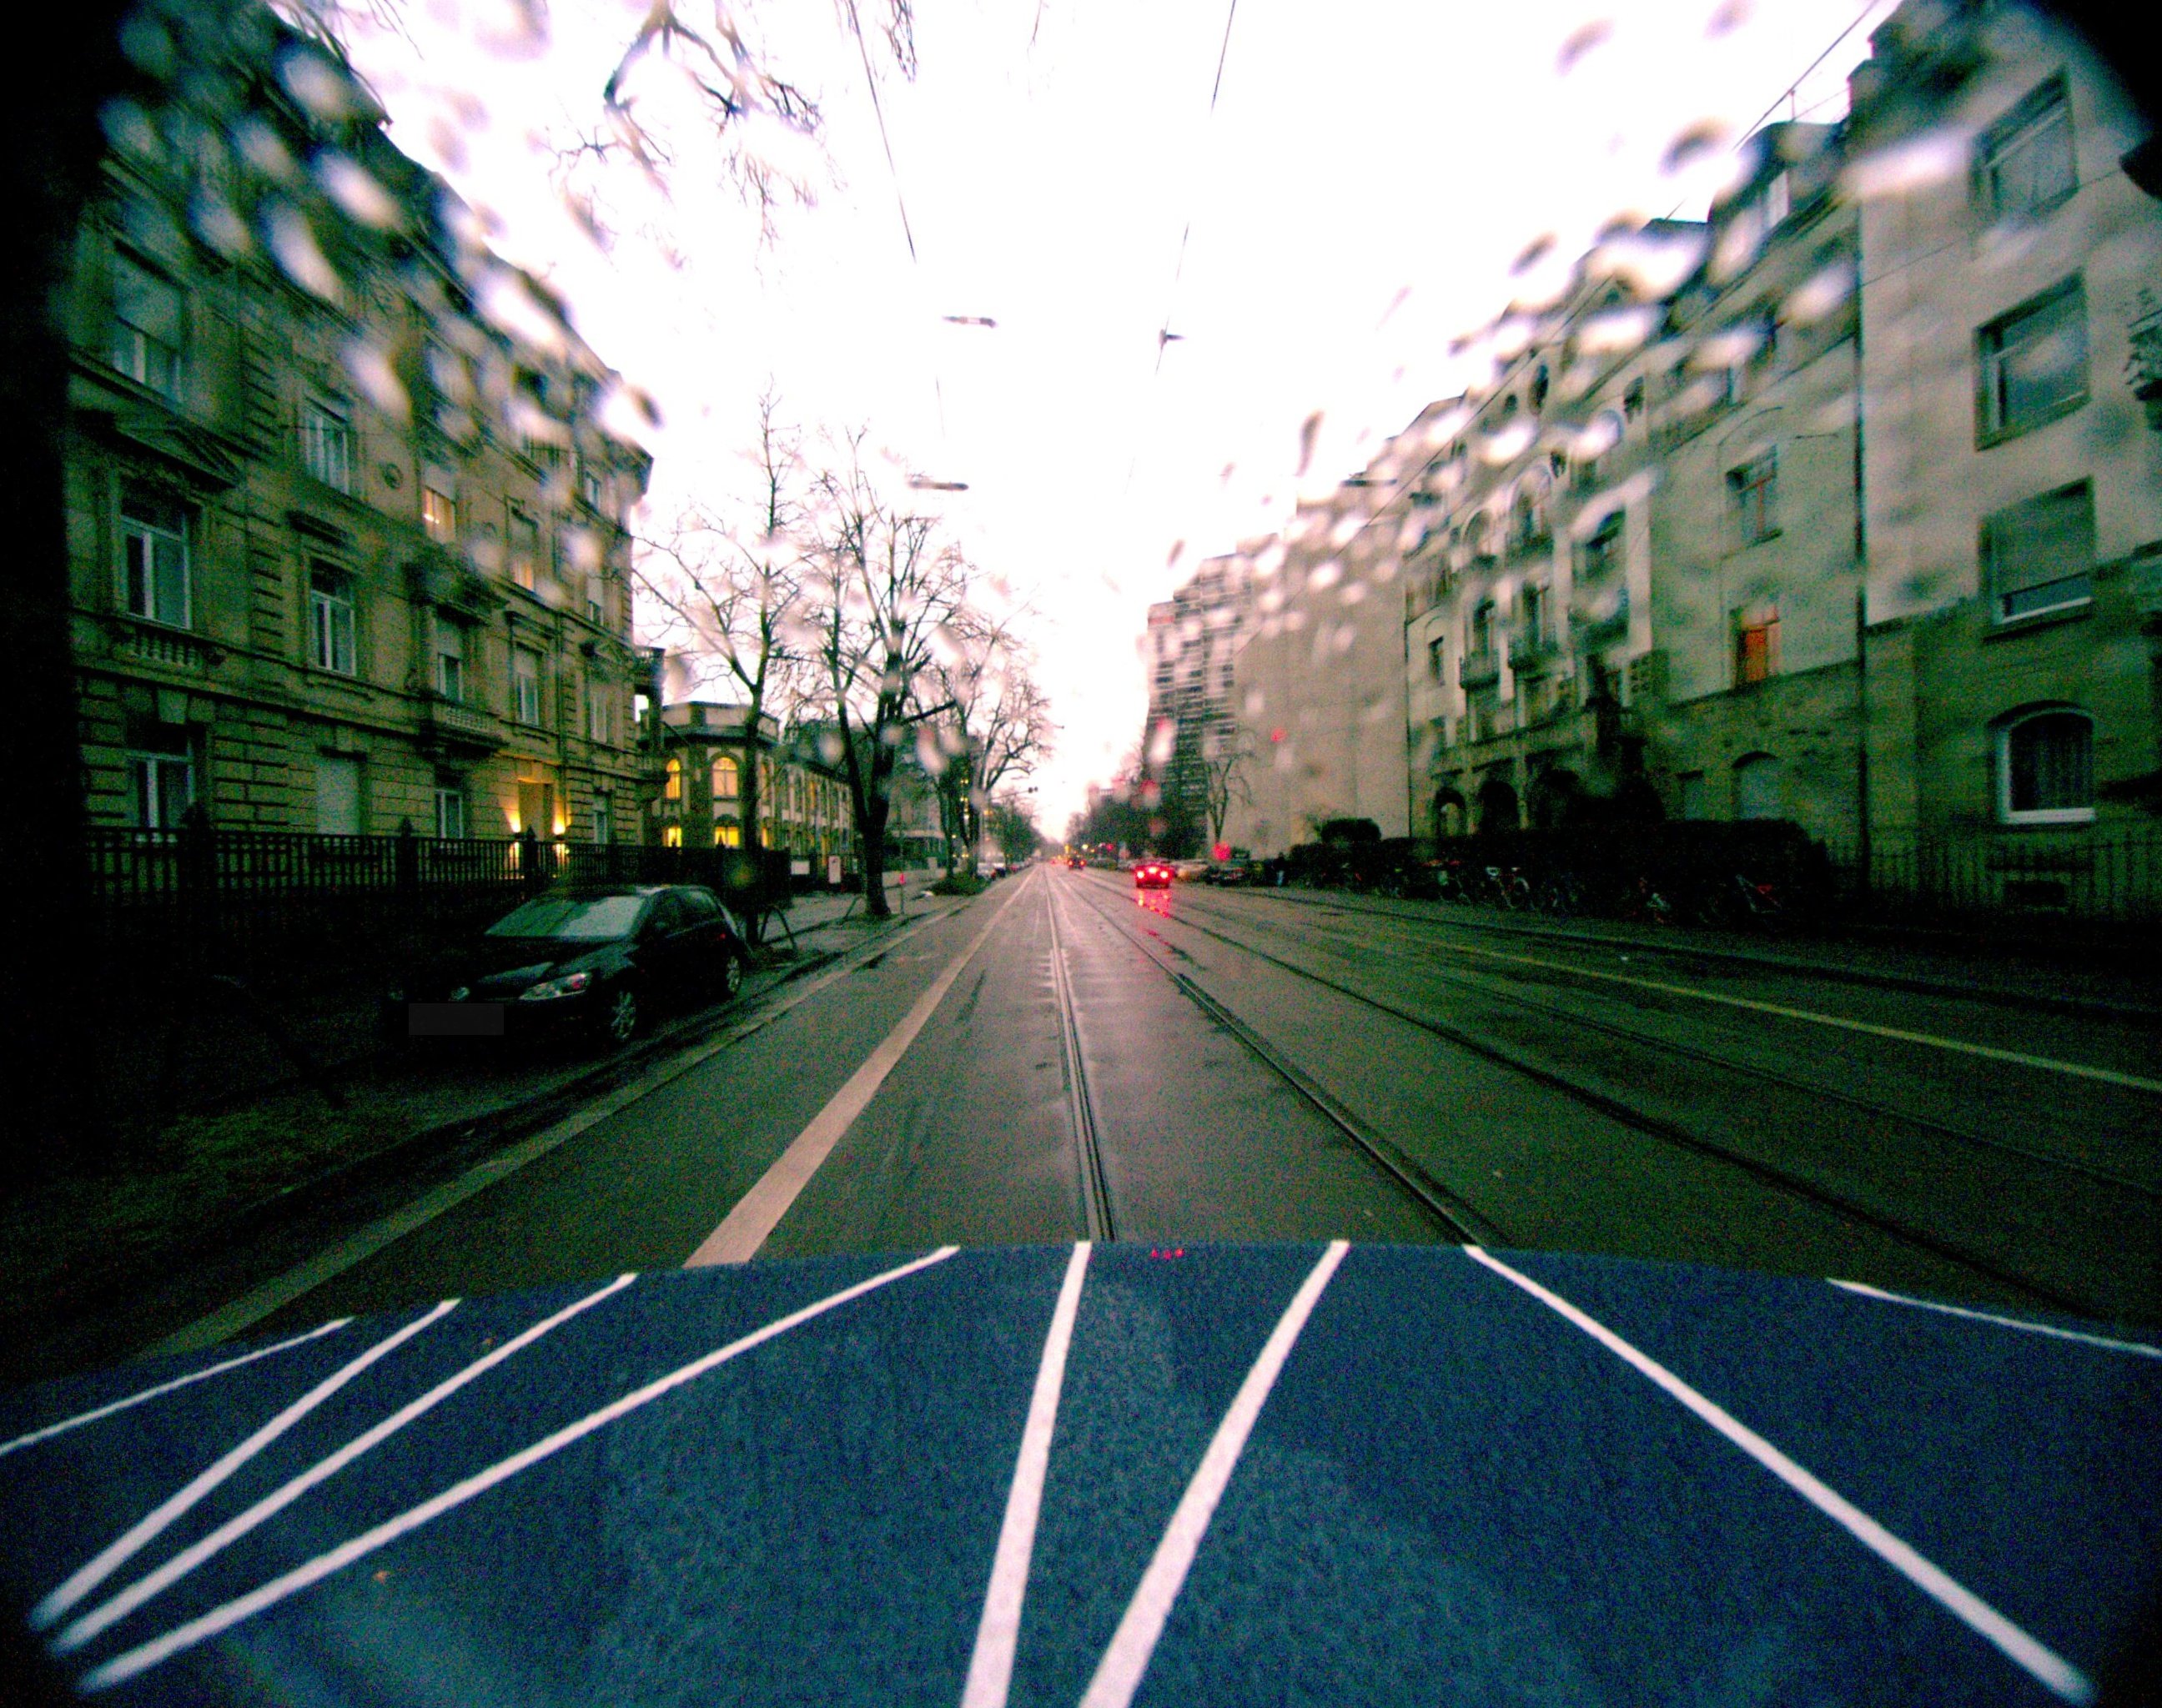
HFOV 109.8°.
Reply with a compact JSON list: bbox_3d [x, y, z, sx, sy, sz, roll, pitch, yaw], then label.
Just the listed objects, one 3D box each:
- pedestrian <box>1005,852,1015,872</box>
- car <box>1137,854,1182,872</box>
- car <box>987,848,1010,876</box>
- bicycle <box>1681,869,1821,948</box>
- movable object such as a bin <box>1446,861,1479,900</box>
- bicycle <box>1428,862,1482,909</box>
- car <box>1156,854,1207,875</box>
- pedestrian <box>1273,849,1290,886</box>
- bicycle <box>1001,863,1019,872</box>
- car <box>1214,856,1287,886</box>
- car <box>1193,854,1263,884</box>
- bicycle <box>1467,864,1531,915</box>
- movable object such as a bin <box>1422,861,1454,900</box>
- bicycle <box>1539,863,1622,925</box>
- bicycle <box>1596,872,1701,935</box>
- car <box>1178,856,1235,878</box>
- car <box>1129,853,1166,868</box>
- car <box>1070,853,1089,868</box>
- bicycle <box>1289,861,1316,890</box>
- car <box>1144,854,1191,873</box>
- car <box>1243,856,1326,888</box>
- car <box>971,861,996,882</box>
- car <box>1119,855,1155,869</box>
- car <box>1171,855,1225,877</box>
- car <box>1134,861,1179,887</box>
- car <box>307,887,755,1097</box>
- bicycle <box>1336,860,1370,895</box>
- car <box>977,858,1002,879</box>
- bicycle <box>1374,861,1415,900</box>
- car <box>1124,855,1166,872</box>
[{"bbox_3d":[-7.987,0.912,85.455,1.118,2.246,0.952,-2,1,-5],"label":"pedestrian"},{"bbox_3d":[7.396,0.817,71.184,4.007,1.586,1.864,-2,0,-39],"label":"car"},{"bbox_3d":[-8.190,0.790,75.544,2.093,2.622,5.446,-2,1,-6],"label":"car"},{"bbox_3d":[10.557,0.823,12.065,0.625,1.119,1.783,-1,0,0],"label":"bicycle"},{"bbox_3d":[11.565,0.797,23.043,0.625,1.157,0.674,-1,0,0],"label":"movable object such as a bin"},{"bbox_3d":[10.114,0.836,20.625,0.625,1.205,1.662,-1,0,0],"label":"bicycle"},{"bbox_3d":[8.152,0.846,61.627,4.007,1.586,1.864,-2,0,-39],"label":"car"},{"bbox_3d":[9.454,0.642,35.879,0.574,1.715,0.644,-3,2,1],"label":"pedestrian"},{"bbox_3d":[-7.968,1.493,85.467,1.918,0.986,0.858,-2,1,-5],"label":"bicycle"},{"bbox_3d":[9.274,0.912,41.458,4.007,1.477,1.760,-2,0,-39],"label":"car"},{"bbox_3d":[8.603,0.868,44.454,4.007,1.586,1.864,-2,0,-39],"label":"car"},{"bbox_3d":[10.174,0.845,18.553,0.625,1.157,1.662,-1,0,0],"label":"bicycle"},{"bbox_3d":[10.812,0.790,23.029,0.659,1.157,0.674,-1,0,0],"label":"movable object such as a bin"},{"bbox_3d":[10.367,0.803,15.840,0.625,1.205,1.662,-1,0,0],"label":"bicycle"},{"bbox_3d":[10.455,0.878,14.078,0.625,1.059,1.726,-1,0,0],"label":"bicycle"},{"bbox_3d":[9.113,0.915,54.921,4.007,1.440,1.864,-2,0,-39],"label":"car"},{"bbox_3d":[7.722,0.783,87.678,4.007,1.586,1.864,-2,0,-39],"label":"car"},{"bbox_3d":[-0.245,0.949,107.271,2.239,2.002,4.458,-2,1,-5],"label":"car"},{"bbox_3d":[9.422,0.903,32.371,0.625,1.157,1.662,-2,0,0],"label":"bicycle"},{"bbox_3d":[7.742,0.825,68.067,4.007,1.586,1.864,-2,0,-39],"label":"car"},{"bbox_3d":[10.471,0.892,39.056,4.006,1.485,1.865,-2,0,-31],"label":"car"},{"bbox_3d":[-7.102,1.249,55.759,1.628,1.399,3.997,-2,1,-6],"label":"car"},{"bbox_3d":[6.625,0.934,89.785,4.007,1.586,1.864,-2,0,-39],"label":"car"},{"bbox_3d":[9.065,0.918,58.558,4.007,1.586,1.864,-2,0,-39],"label":"car"},{"bbox_3d":[4.067,1.042,40.614,1.708,1.245,3.671,-1,0,16],"label":"car"},{"bbox_3d":[-5.028,1.130,7.811,1.762,1.437,4.156,1,-1,-4],"label":"car"},{"bbox_3d":[9.789,0.837,27.394,0.625,1.205,1.662,-1,0,0],"label":"bicycle"},{"bbox_3d":[-7.864,1.209,65.877,1.999,1.672,3.997,-2,1,-6],"label":"car"},{"bbox_3d":[10.056,0.835,24.442,0.625,1.205,1.662,-1,0,0],"label":"bicycle"},{"bbox_3d":[6.462,0.911,76.234,4.007,1.586,1.864,-2,0,-39],"label":"car"}]
